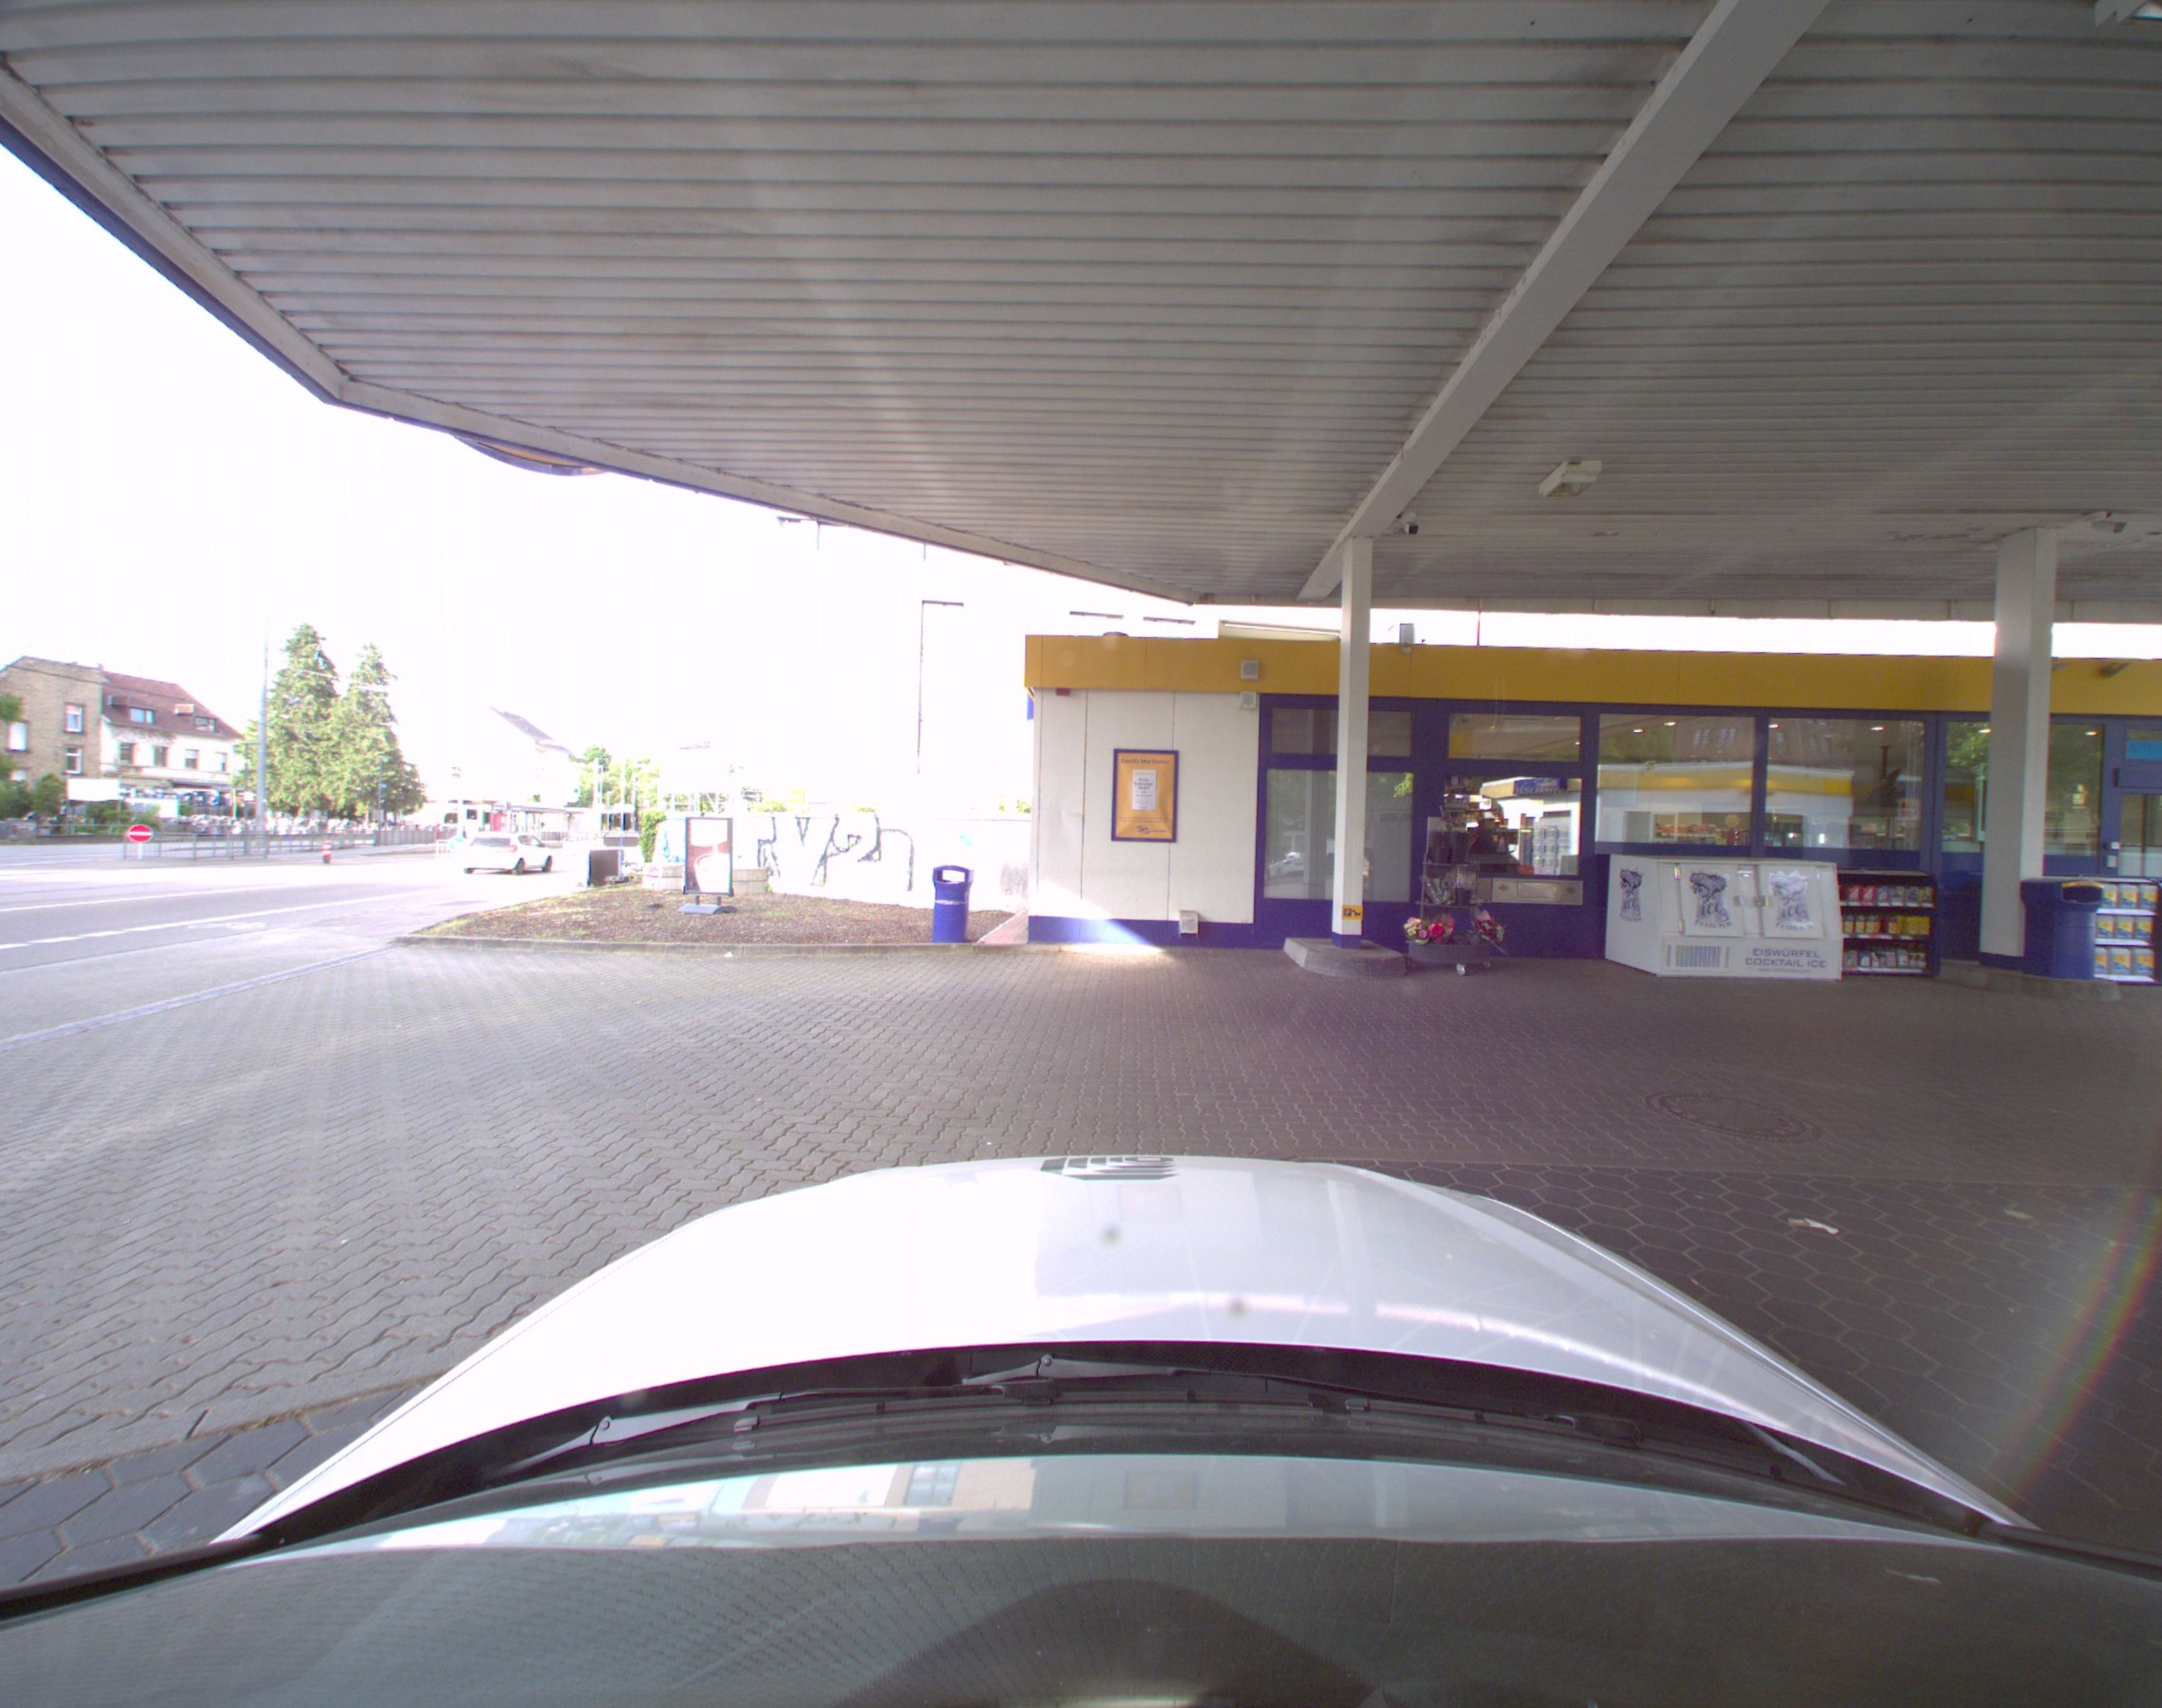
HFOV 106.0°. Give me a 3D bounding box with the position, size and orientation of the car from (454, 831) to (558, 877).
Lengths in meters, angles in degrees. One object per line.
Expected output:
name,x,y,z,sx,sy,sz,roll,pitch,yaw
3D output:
car,-19.696,-0.034,28.058,1.670,1.400,3.692,2,1,-15
